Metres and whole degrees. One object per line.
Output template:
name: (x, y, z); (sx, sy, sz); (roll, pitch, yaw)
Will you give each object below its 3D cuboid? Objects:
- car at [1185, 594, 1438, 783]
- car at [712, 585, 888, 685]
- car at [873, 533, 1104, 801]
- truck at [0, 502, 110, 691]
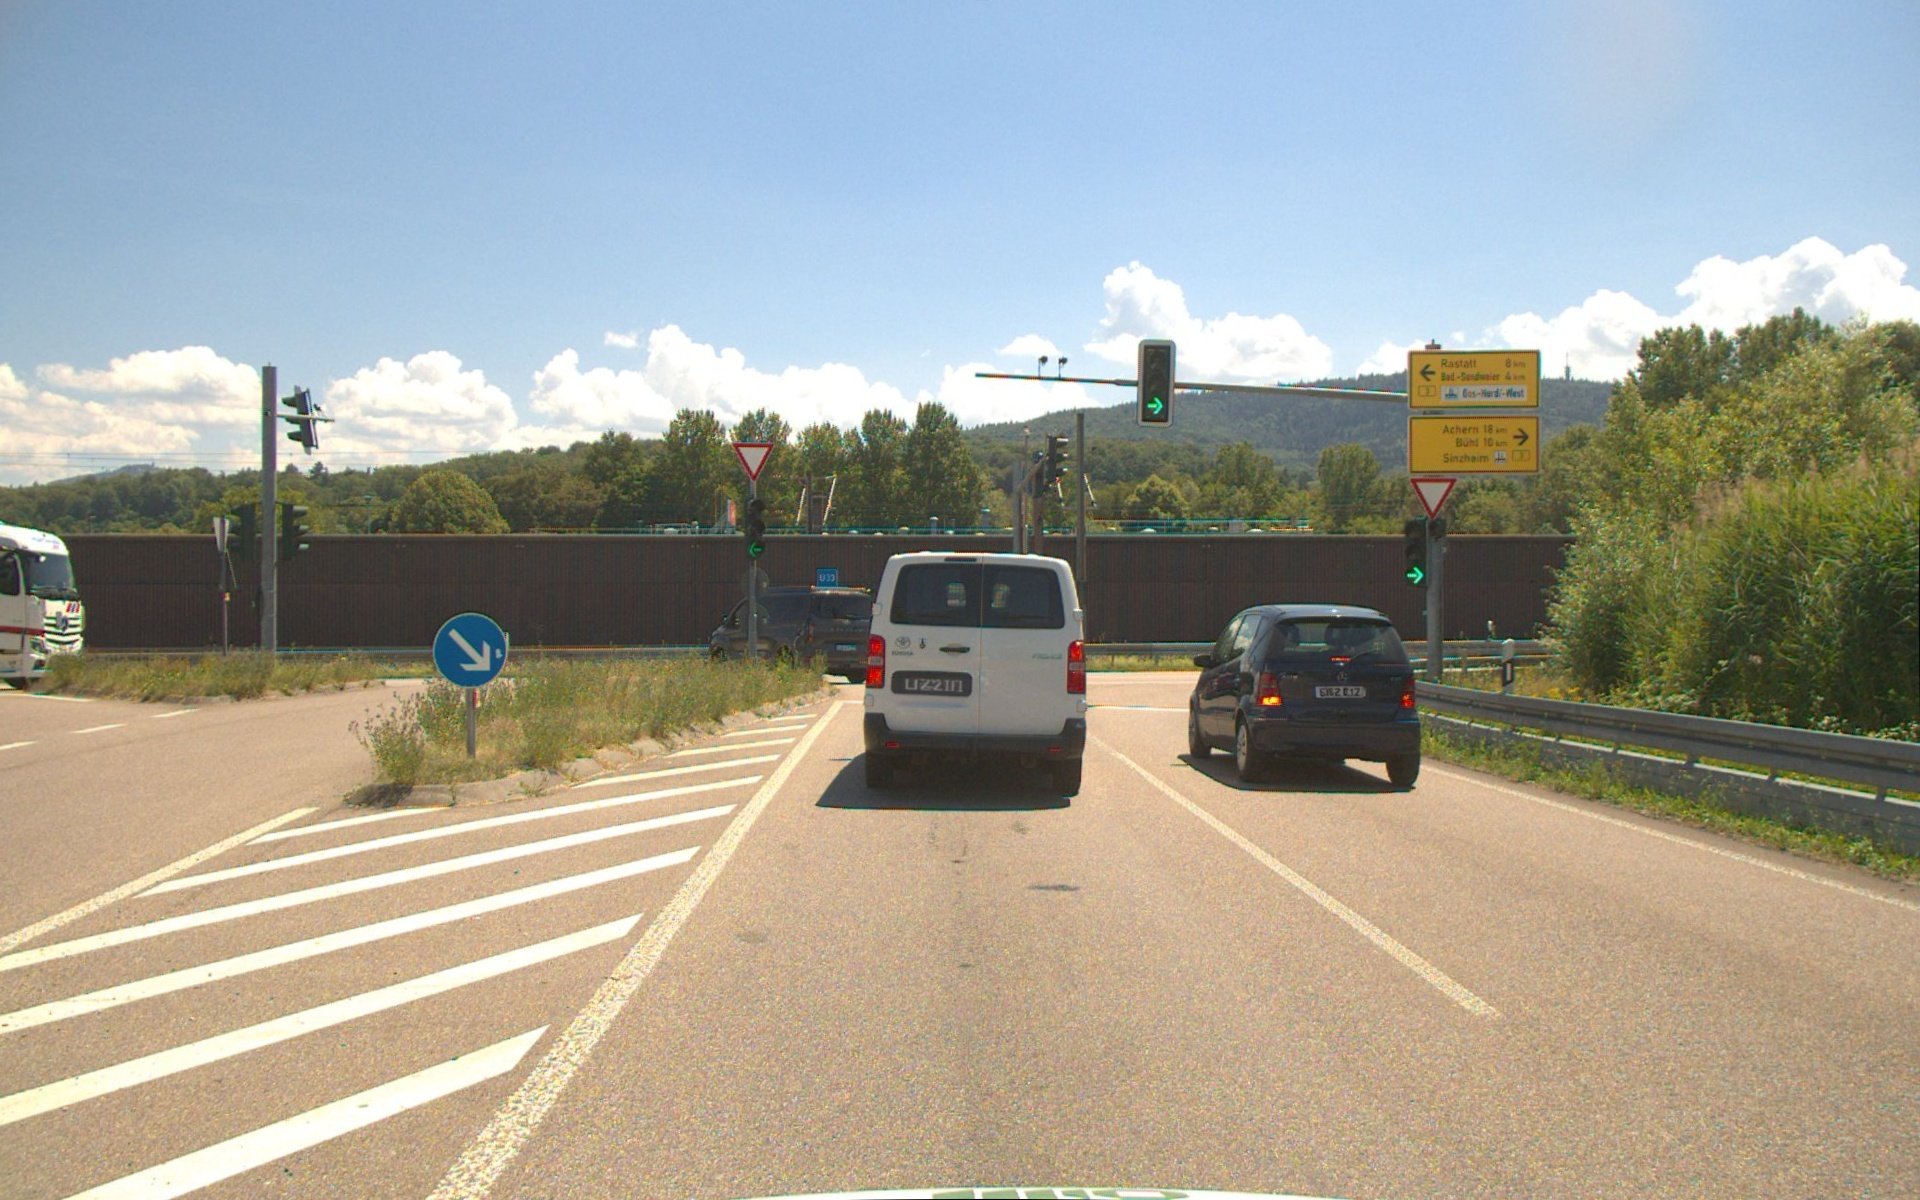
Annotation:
car: (3.335, 0.784, 16.306); (1.634, 1.628, 3.552); (1, 0, -2)
car: (-3.619, 0.744, 36.684); (1.975, 2.049, 4.659); (1, -1, -33)
car: (0.182, 0.526, 14.711); (1.778, 2.053, 3.999); (0, 0, -1)
truck: (-22.426, -0.064, 36.549); (5.649, 4.024, 3.060); (0, -1, -3)
